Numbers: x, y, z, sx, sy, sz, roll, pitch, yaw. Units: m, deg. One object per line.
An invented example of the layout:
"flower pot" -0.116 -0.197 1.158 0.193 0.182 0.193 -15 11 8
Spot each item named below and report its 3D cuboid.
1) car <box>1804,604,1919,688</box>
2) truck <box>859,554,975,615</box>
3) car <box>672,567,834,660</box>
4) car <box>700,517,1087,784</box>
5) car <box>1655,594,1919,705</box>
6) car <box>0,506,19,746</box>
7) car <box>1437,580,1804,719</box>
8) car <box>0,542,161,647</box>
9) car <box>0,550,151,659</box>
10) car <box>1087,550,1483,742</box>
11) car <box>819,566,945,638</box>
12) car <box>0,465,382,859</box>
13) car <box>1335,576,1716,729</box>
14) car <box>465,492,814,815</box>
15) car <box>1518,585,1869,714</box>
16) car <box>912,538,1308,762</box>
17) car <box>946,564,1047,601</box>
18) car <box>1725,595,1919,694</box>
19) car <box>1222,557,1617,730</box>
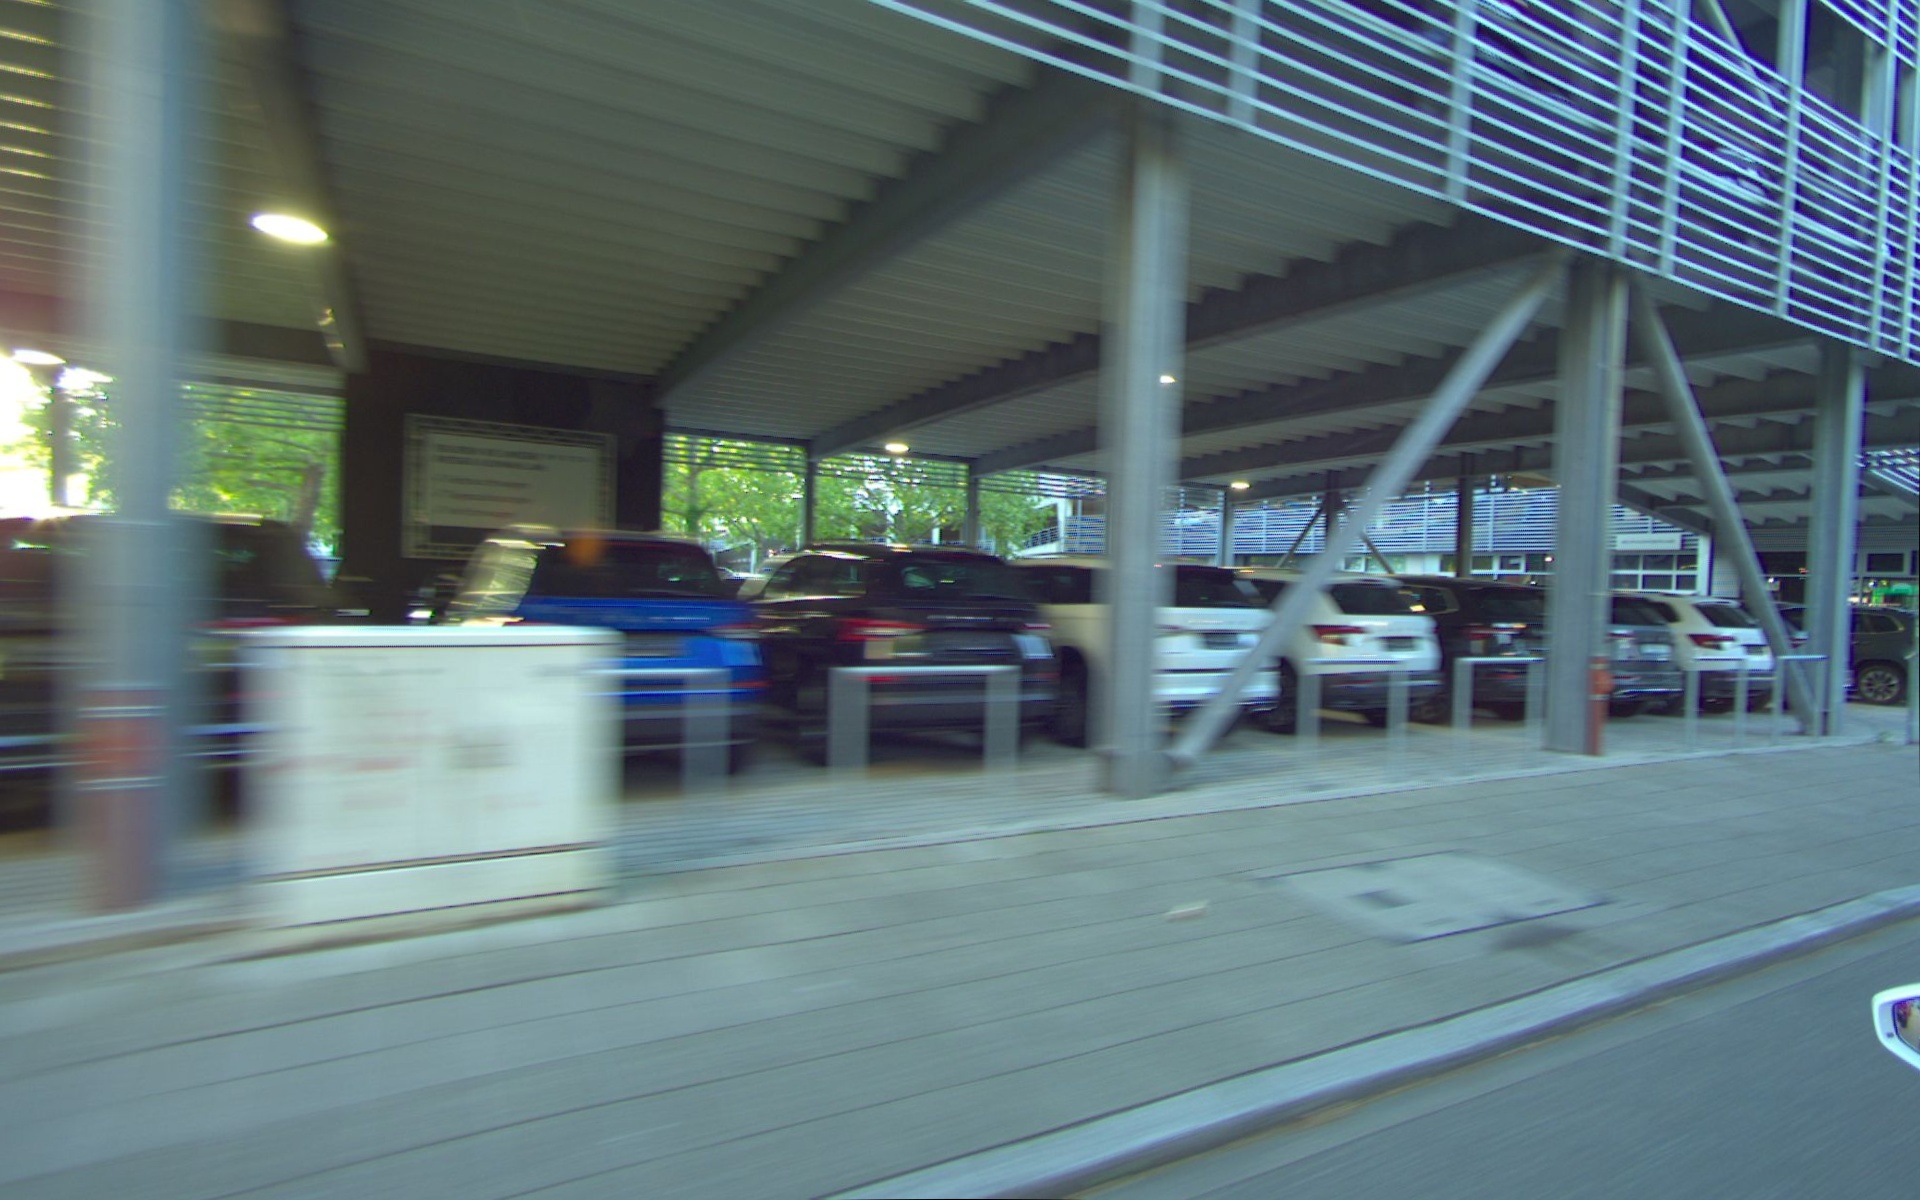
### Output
"car" 19.811 0.983 20.187 1.839 1.607 3.967 3 0 -30
"truck" -2.170 -0.774 47.567 2.417 2.603 6.879 1 1 -31
"car" -3.960 0.180 18.600 1.836 1.507 4.319 0 1 -28
"car" -0.849 0.287 8.701 1.836 1.706 4.132 0 1 -28
"car" 15.260 0.787 18.120 1.836 1.706 4.071 0 1 -28
"car" -6.815 0.216 5.144 1.836 1.706 4.149 0 1 -28
"car" 9.389 0.577 14.661 1.836 1.706 4.086 0 1 -28
"car" -15.688 -0.122 16.413 3.823 1.639 1.810 1 2 -29
"car" -14.062 0.022 14.170 3.823 1.473 1.810 1 2 -29
"car" 3.344 0.371 11.168 1.836 1.706 4.067 0 1 -28
"car" -2.118 0.017 26.043 1.836 1.706 4.008 0 1 -28
"car" -4.784 0.231 6.289 1.836 1.706 4.019 0 1 -28
"car" 7.297 0.547 13.428 1.836 1.706 4.086 0 1 -28
"car" -2.636 0.246 7.520 1.836 1.706 4.019 0 1 -28
"car" 11.255 0.647 15.745 1.836 1.706 4.048 0 1 -28
"car" 1.206 0.345 9.865 1.836 1.706 4.009 0 1 -28
"car" 1.752 -0.850 48.522 4.341 1.595 2.283 1 1 -33
"car" 17.414 0.805 19.170 1.836 1.706 4.063 0 1 -28
"car" 5.302 0.396 12.182 1.836 1.706 4.086 0 1 -28
